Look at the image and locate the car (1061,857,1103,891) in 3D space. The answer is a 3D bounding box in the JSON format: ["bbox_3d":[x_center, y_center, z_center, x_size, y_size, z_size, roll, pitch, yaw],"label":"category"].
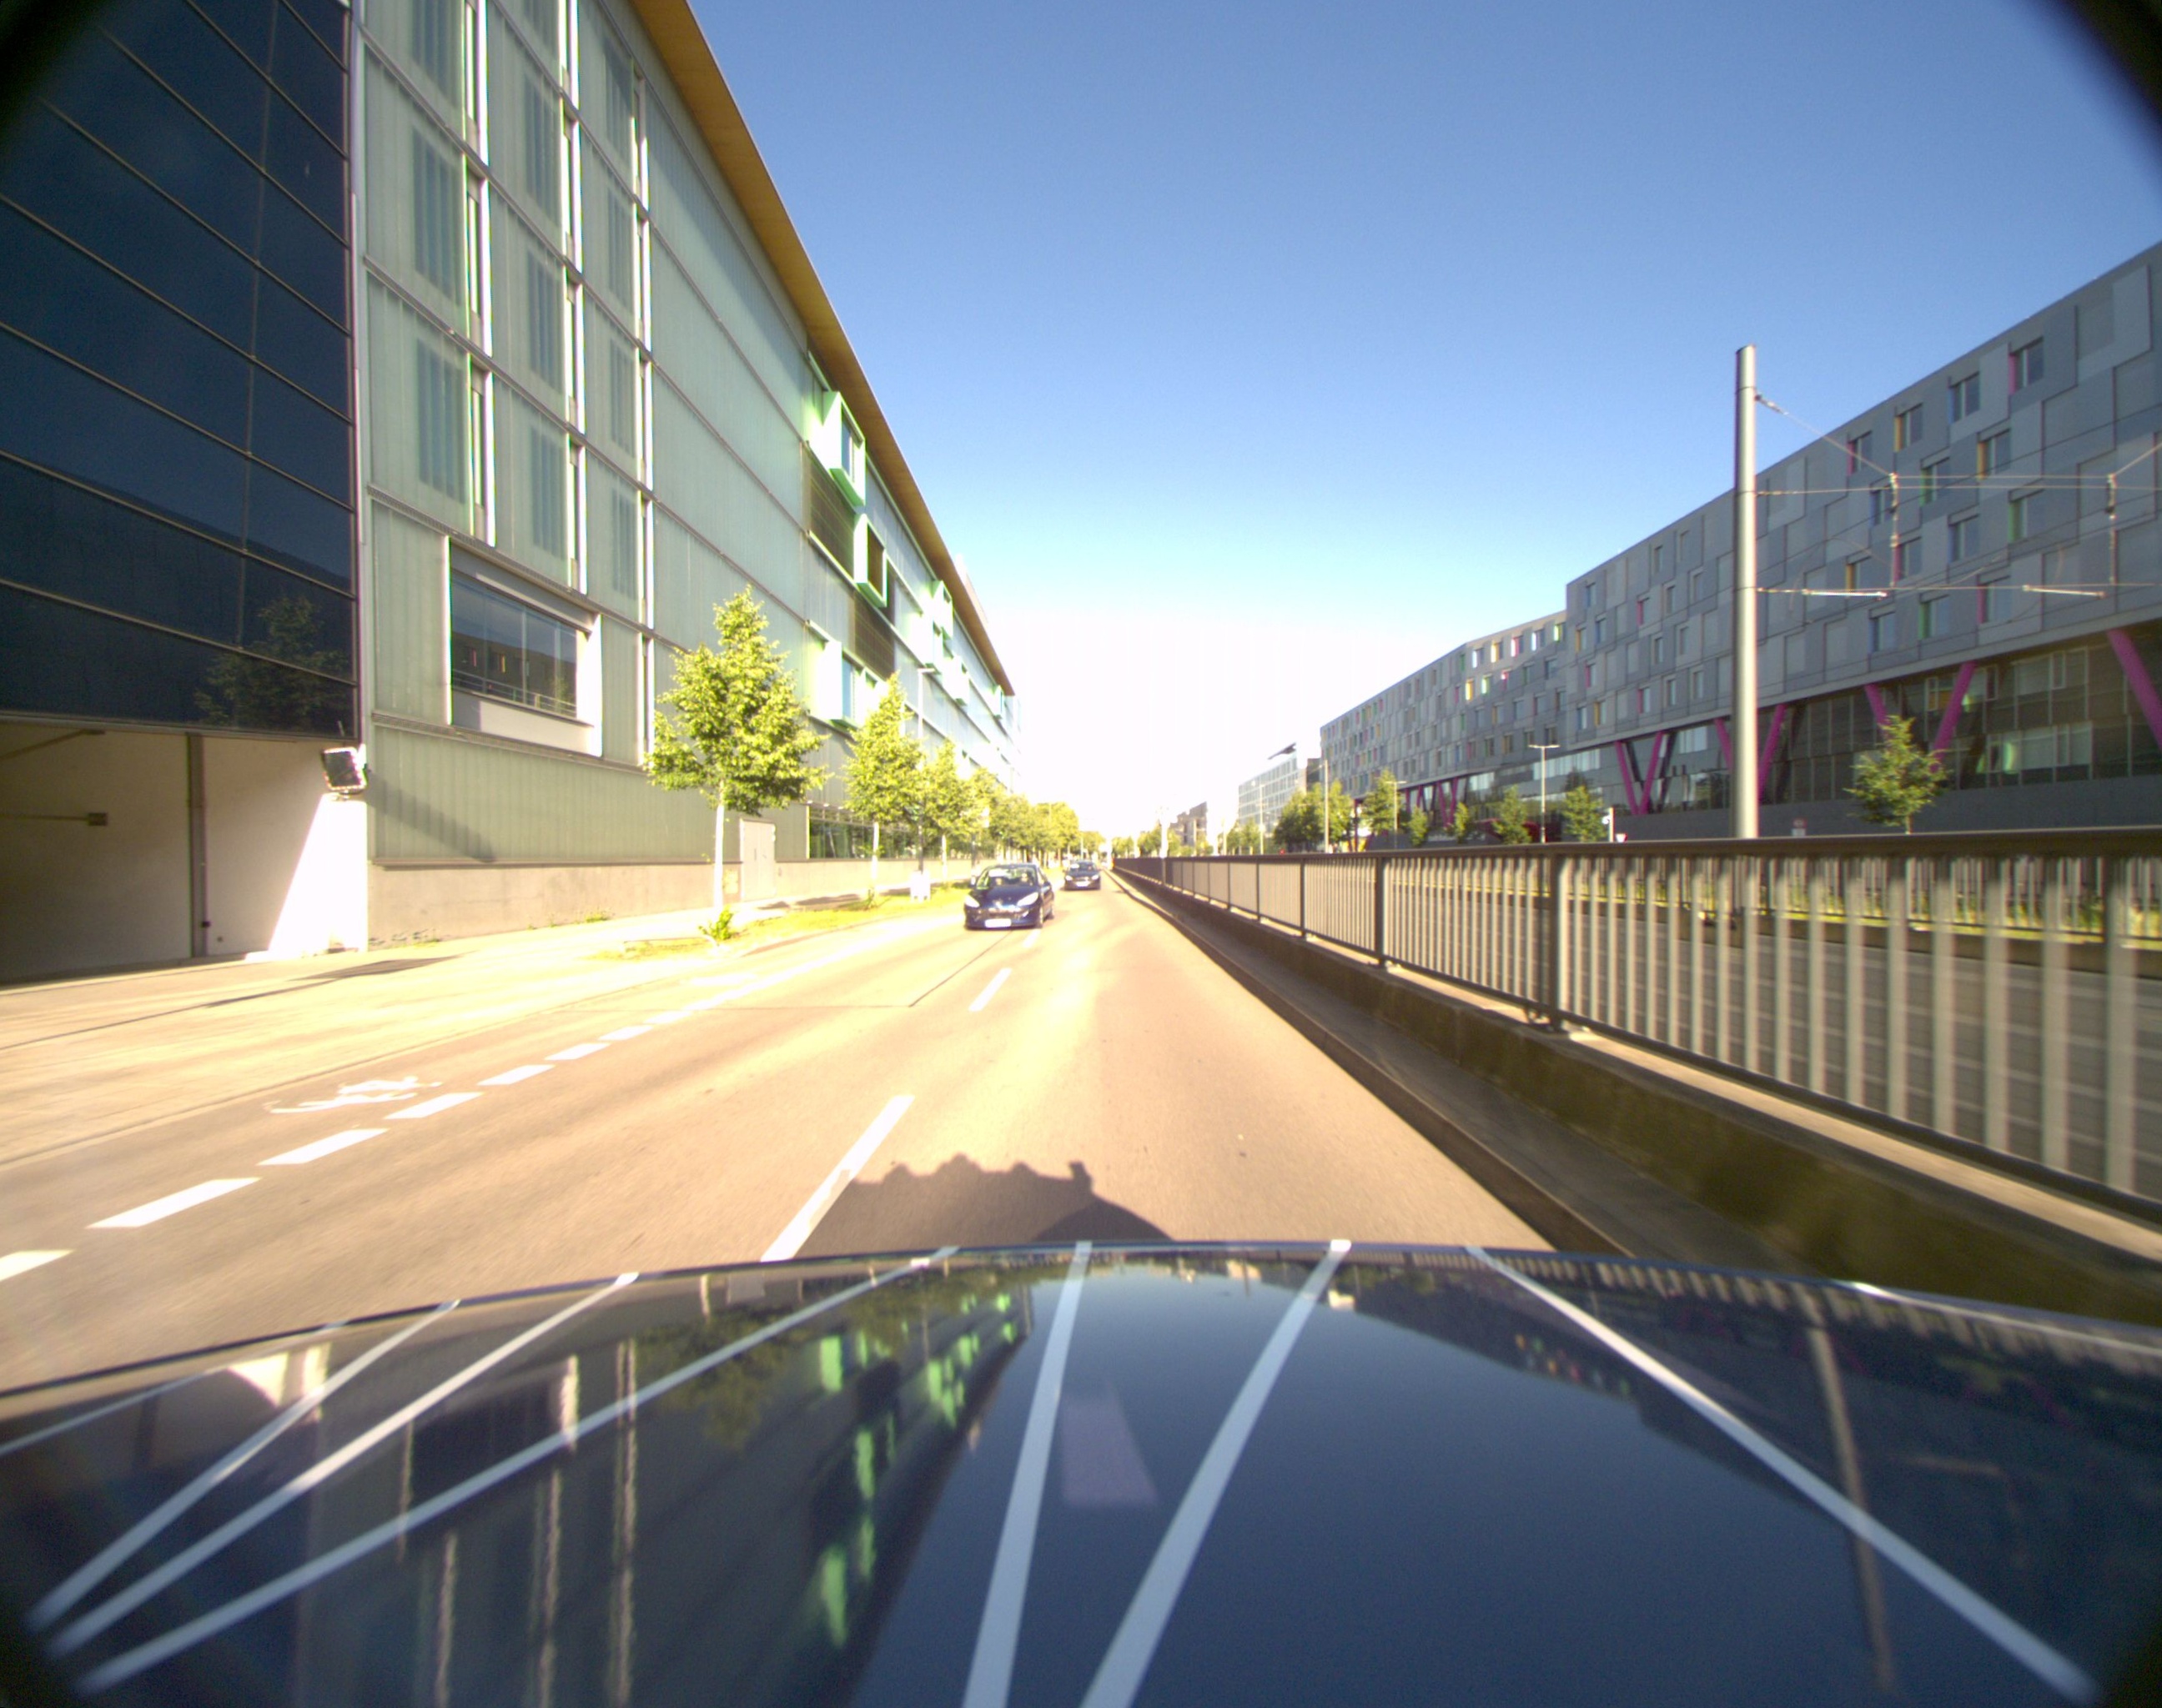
[{"bbox_3d":[0.110,0.969,38.673,1.803,1.518,4.606,-2,0,3],"label":"car"}]

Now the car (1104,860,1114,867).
[{"bbox_3d":[6.446,2.181,175.834,1.998,1.543,4.000,-3,0,1],"label":"car"}]

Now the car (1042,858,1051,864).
[{"bbox_3d":[-9.235,1.949,203.088,1.898,1.479,4.348,-1,0,6],"label":"car"}]

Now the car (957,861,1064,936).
[{"bbox_3d":[-1.574,0.984,18.647,1.802,1.518,4.607,-2,0,5],"label":"car"}]
